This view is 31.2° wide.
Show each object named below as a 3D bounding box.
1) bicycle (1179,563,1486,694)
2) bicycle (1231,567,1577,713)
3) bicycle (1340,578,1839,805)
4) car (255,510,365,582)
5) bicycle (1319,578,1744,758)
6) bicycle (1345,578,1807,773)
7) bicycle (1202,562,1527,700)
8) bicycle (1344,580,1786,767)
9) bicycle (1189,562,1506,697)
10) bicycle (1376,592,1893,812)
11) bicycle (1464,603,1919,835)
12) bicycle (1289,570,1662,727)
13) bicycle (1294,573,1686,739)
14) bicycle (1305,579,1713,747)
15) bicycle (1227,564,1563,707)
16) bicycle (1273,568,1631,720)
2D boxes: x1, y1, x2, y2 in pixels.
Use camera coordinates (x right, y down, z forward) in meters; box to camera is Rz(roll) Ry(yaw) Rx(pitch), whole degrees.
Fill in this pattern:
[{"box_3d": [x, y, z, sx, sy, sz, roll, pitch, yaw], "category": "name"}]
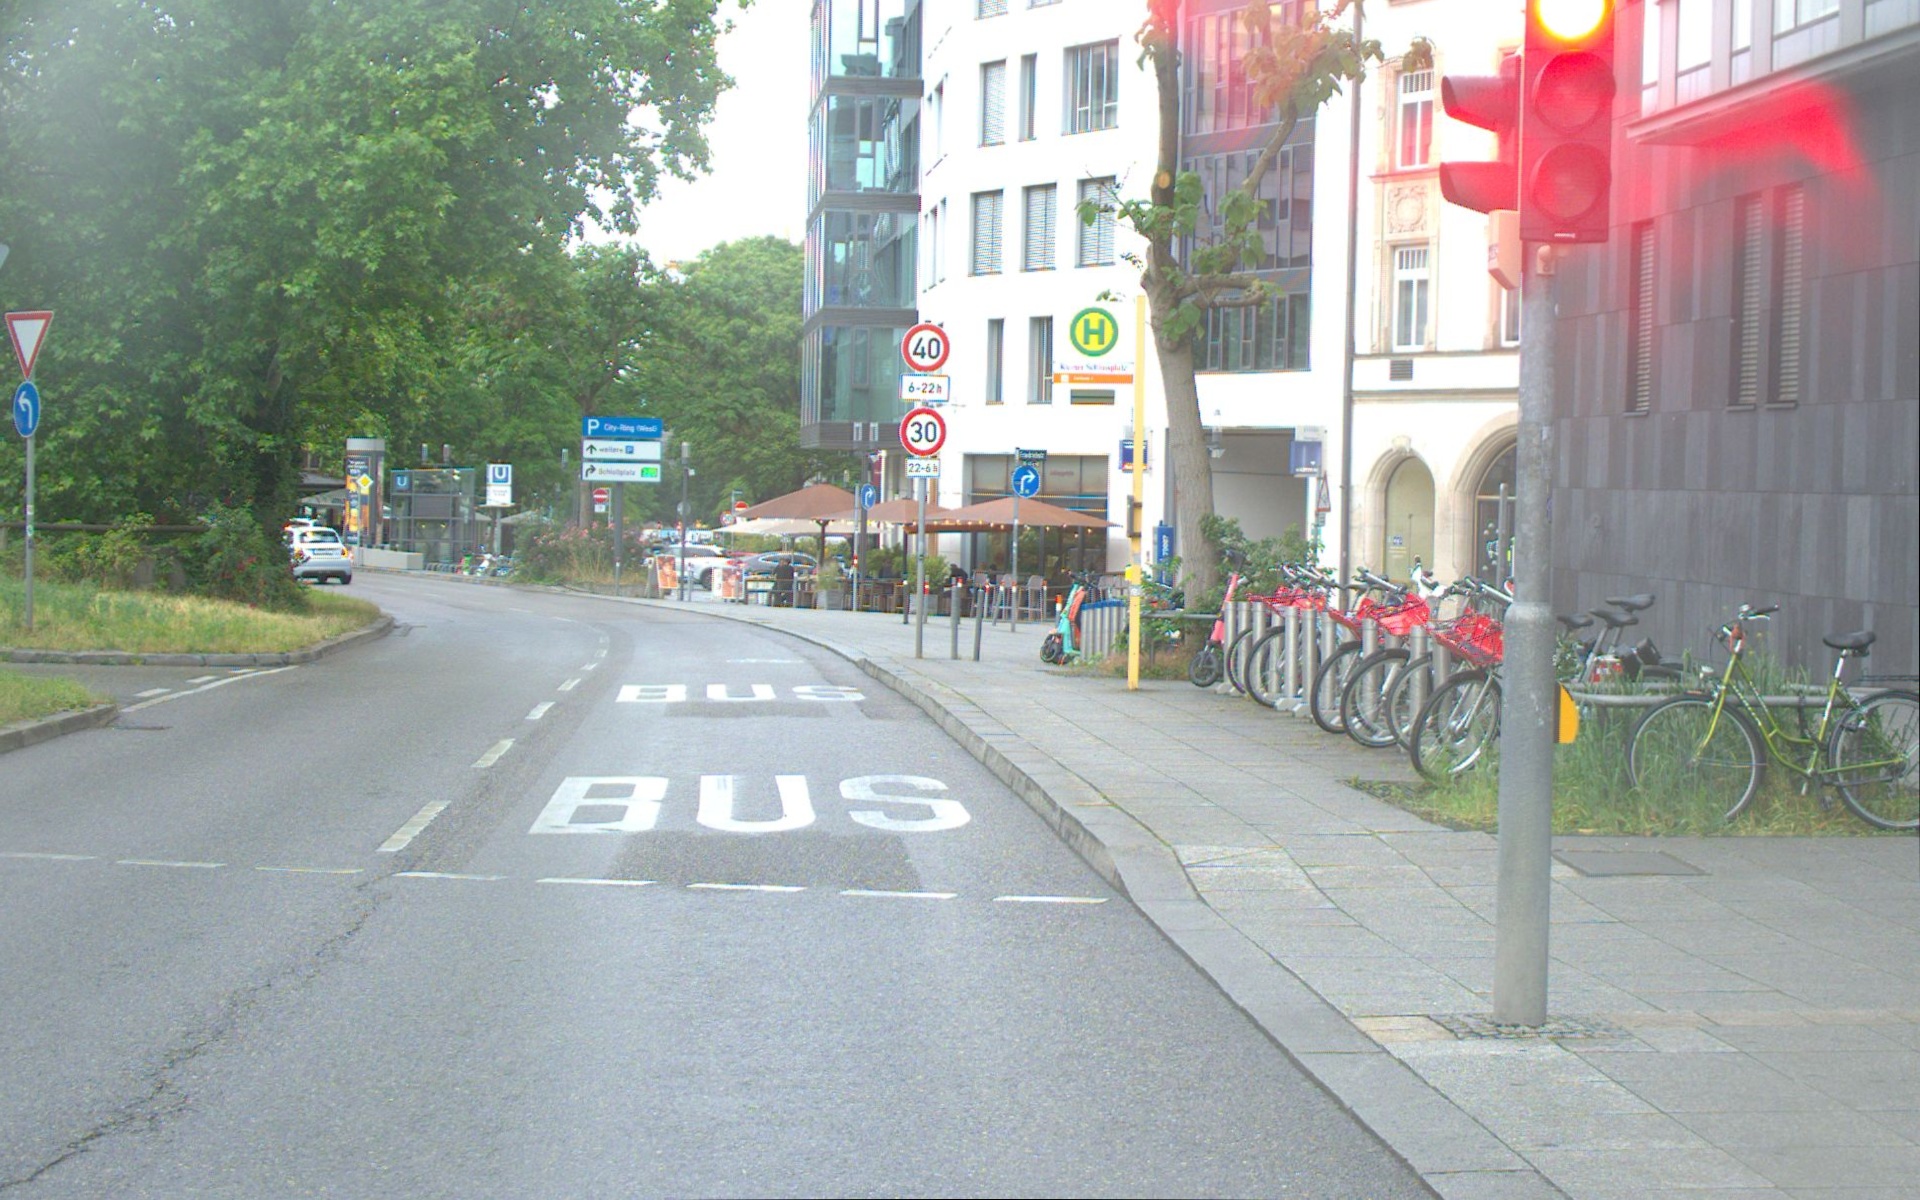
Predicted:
[{"box_3d": [3.191, 0.240, 29.529, 2.535, 1.083, 0.627, 1, 1, -5], "category": "bicycle"}, {"box_3d": [3.401, 0.303, 26.419, 2.535, 1.083, 0.677, 1, 1, -5], "category": "bicycle"}, {"box_3d": [3.414, 0.490, 18.740, 2.535, 1.083, 0.677, 3, 1, -5], "category": "bicycle"}, {"box_3d": [-17.595, -1.475, 92.937, 1.993, 1.641, 4.002, 5, 1, -23], "category": "car"}, {"box_3d": [3.582, 0.420, 21.630, 2.535, 1.083, 0.677, 1, 1, -5], "category": "bicycle"}, {"box_3d": [3.559, 0.434, 19.965, 2.535, 1.083, 0.677, 1, 1, -5], "category": "bicycle"}, {"box_3d": [3.292, 0.246, 28.060, 2.535, 1.083, 0.677, 1, 1, -5], "category": "bicycle"}, {"box_3d": [3.648, 0.440, 20.820, 2.535, 1.083, 0.677, 1, 1, -5], "category": "bicycle"}, {"box_3d": [3.236, 0.244, 28.807, 2.535, 1.083, 0.677, 1, 1, -5], "category": "bicycle"}, {"box_3d": [3.501, 0.524, 17.937, 2.535, 1.083, 0.677, 1, 1, -5], "category": "bicycle"}, {"box_3d": [3.746, 0.563, 16.460, 2.535, 1.053, 0.677, 1, 1, -5], "category": "bicycle"}, {"box_3d": [3.674, 0.342, 24.602, 2.535, 1.083, 0.677, 1, 1, -5], "category": "bicycle"}, {"box_3d": [3.596, 0.376, 23.405, 2.535, 1.083, 0.677, 1, 1, -5], "category": "bicycle"}, {"box_3d": [3.577, 0.407, 22.497, 2.535, 1.056, 0.677, 1, 1, -5], "category": "bicycle"}, {"box_3d": [3.427, 0.274, 27.171, 2.535, 1.083, 0.677, 1, 1, -5], "category": "bicycle"}, {"box_3d": [3.651, 0.323, 25.580, 2.535, 1.083, 0.677, 1, 1, -5], "category": "bicycle"}]
